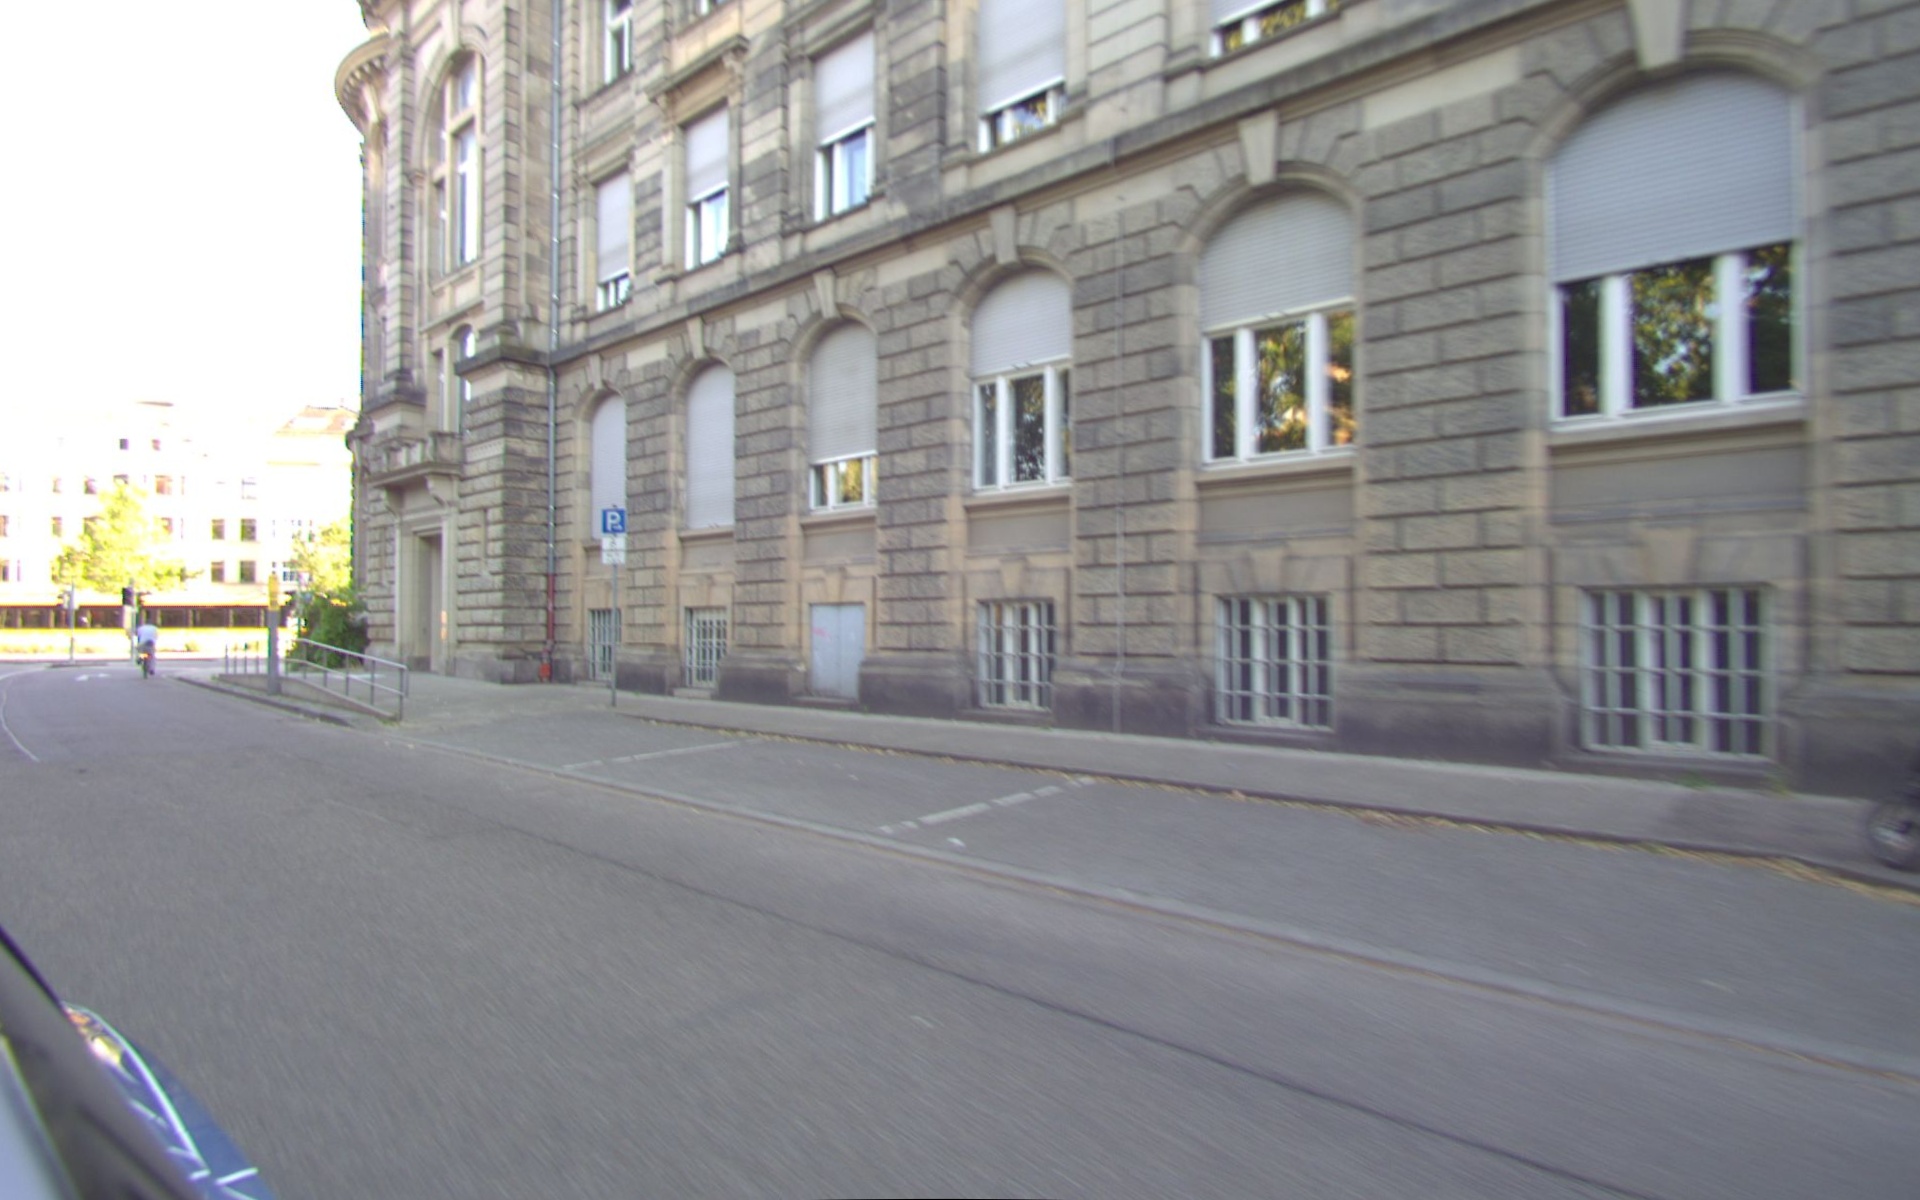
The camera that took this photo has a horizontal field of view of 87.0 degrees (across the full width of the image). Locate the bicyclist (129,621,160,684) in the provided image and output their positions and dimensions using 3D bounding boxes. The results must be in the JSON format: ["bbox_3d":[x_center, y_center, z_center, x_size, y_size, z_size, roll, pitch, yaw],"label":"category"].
[{"bbox_3d":[-24.108,1.549,29.916,0.637,1.821,0.782,2,-3,-38],"label":"bicyclist"}]

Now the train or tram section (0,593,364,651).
[{"bbox_3d":[-49.839,1.480,65.350,19.603,3.586,3.129,0,-2,-12],"label":"train or tram section"}]

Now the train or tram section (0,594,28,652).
[{"bbox_3d":[-67.892,1.379,61.670,17.190,3.586,3.129,0,-2,-11],"label":"train or tram section"}]

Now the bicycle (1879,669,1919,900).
[{"bbox_3d":[5.722,0.931,4.781,0.842,1.110,1.983,-1,-1,-44],"label":"bicycle"}]

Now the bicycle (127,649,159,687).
[{"bbox_3d":[-24.074,1.985,29.851,0.654,1.078,2.157,2,-3,-38],"label":"bicycle"}]
